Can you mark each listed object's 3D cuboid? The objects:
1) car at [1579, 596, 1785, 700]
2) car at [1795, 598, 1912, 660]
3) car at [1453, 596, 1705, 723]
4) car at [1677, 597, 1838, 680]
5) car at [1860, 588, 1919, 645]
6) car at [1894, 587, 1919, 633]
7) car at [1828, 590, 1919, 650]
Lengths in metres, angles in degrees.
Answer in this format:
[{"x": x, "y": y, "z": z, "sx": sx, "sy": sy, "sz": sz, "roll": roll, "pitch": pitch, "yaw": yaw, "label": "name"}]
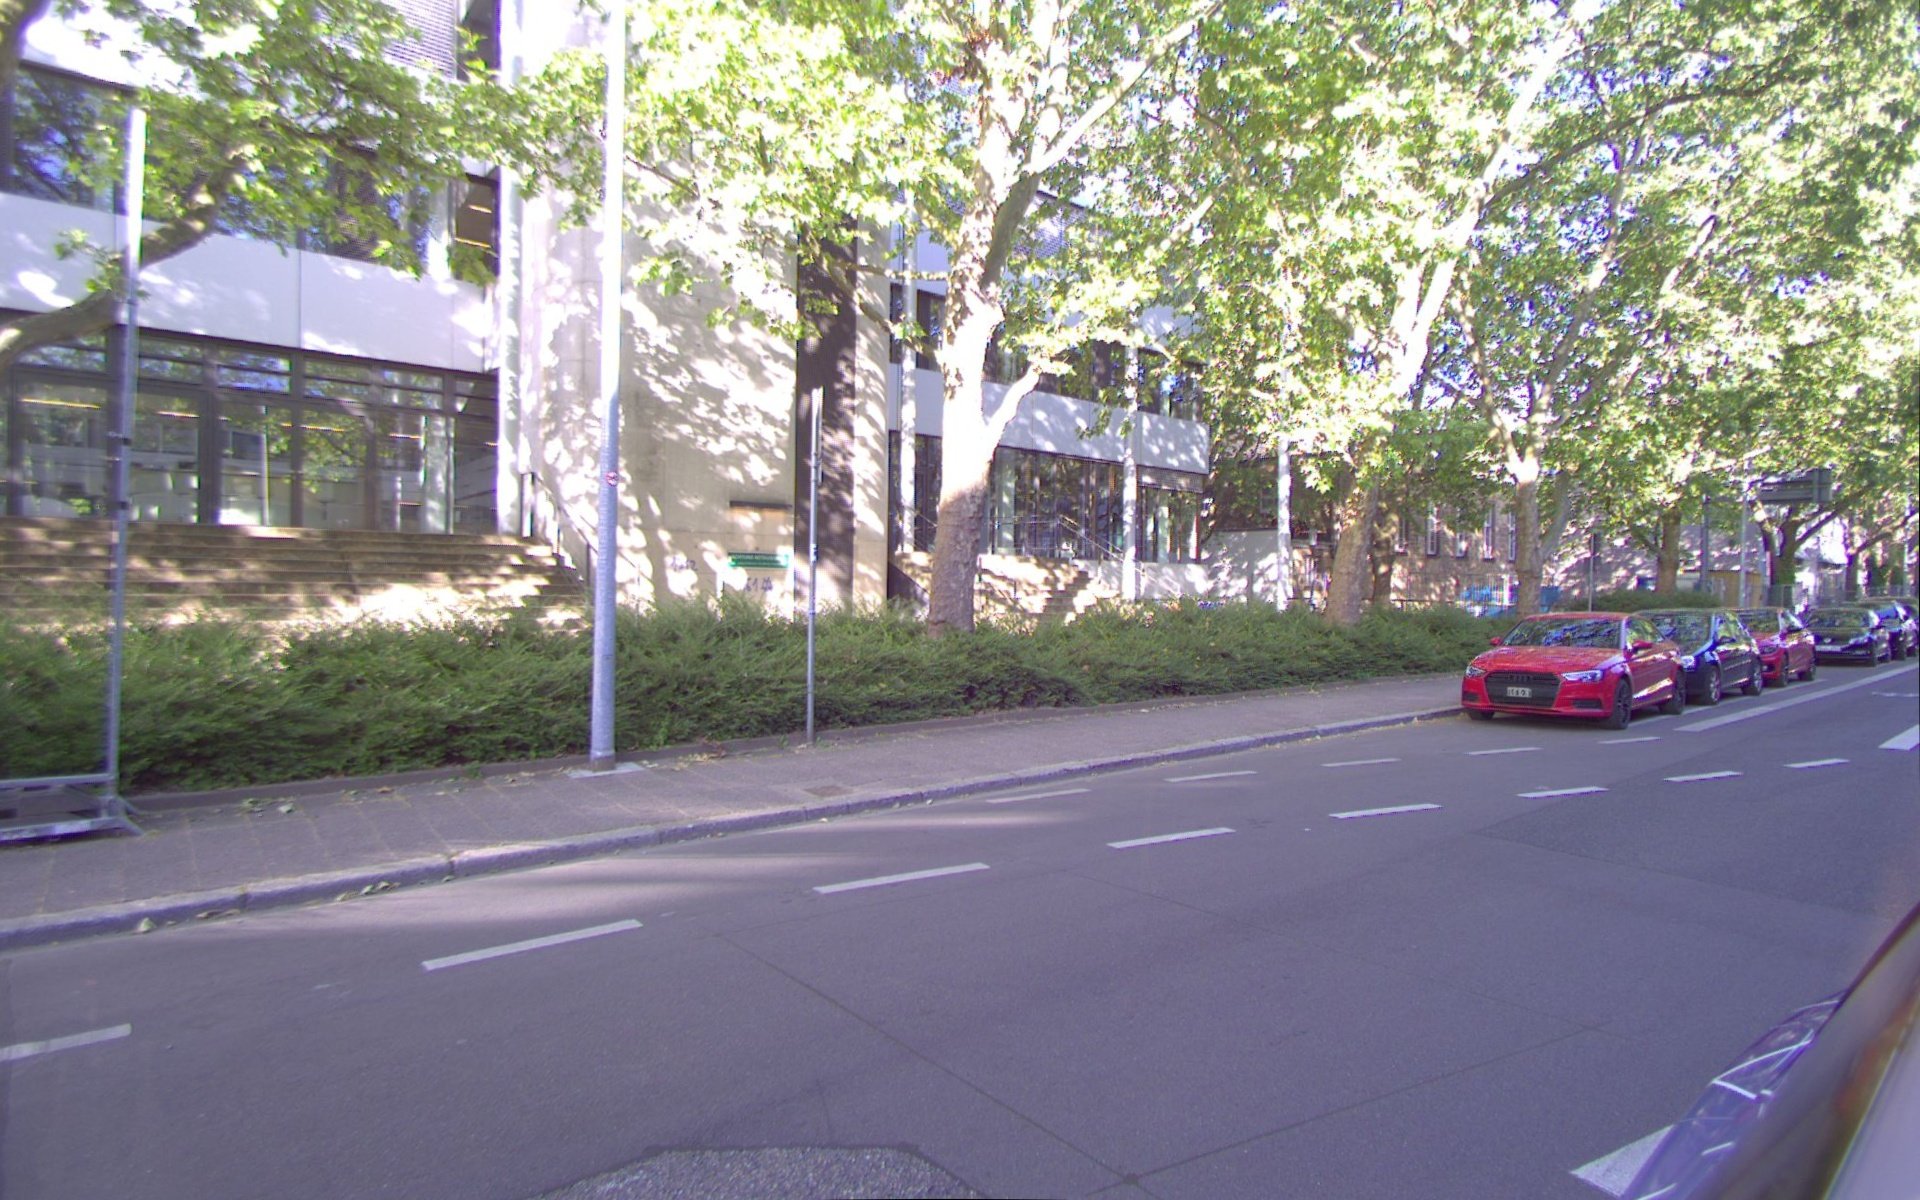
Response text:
[{"x": 11.895, "y": 0.687, "z": 16.591, "sx": 3.929, "sy": 1.475, "sz": 1.812, "roll": 0, "pitch": 1, "yaw": -40, "label": "car"}, {"x": 22.984, "y": 0.682, "z": 25.998, "sx": 3.930, "sy": 1.456, "sz": 1.744, "roll": 0, "pitch": 1, "yaw": -41, "label": "car"}, {"x": 8.369, "y": 0.678, "z": 13.550, "sx": 4.101, "sy": 1.443, "sz": 1.773, "roll": 0, "pitch": -1, "yaw": -42, "label": "car"}, {"x": 15.750, "y": 0.679, "z": 19.924, "sx": 3.930, "sy": 1.456, "sz": 1.789, "roll": 0, "pitch": 1, "yaw": -41, "label": "car"}, {"x": 31.083, "y": 0.484, "z": 33.057, "sx": 4.188, "sy": 1.747, "sz": 1.997, "roll": -1, "pitch": 0, "yaw": -41, "label": "car"}, {"x": 35.741, "y": 0.365, "z": 37.078, "sx": 4.004, "sy": 1.638, "sz": 1.797, "roll": 0, "pitch": 1, "yaw": -41, "label": "car"}, {"x": 26.648, "y": 0.526, "z": 29.196, "sx": 4.158, "sy": 1.601, "sz": 1.847, "roll": 0, "pitch": 1, "yaw": -41, "label": "car"}]
